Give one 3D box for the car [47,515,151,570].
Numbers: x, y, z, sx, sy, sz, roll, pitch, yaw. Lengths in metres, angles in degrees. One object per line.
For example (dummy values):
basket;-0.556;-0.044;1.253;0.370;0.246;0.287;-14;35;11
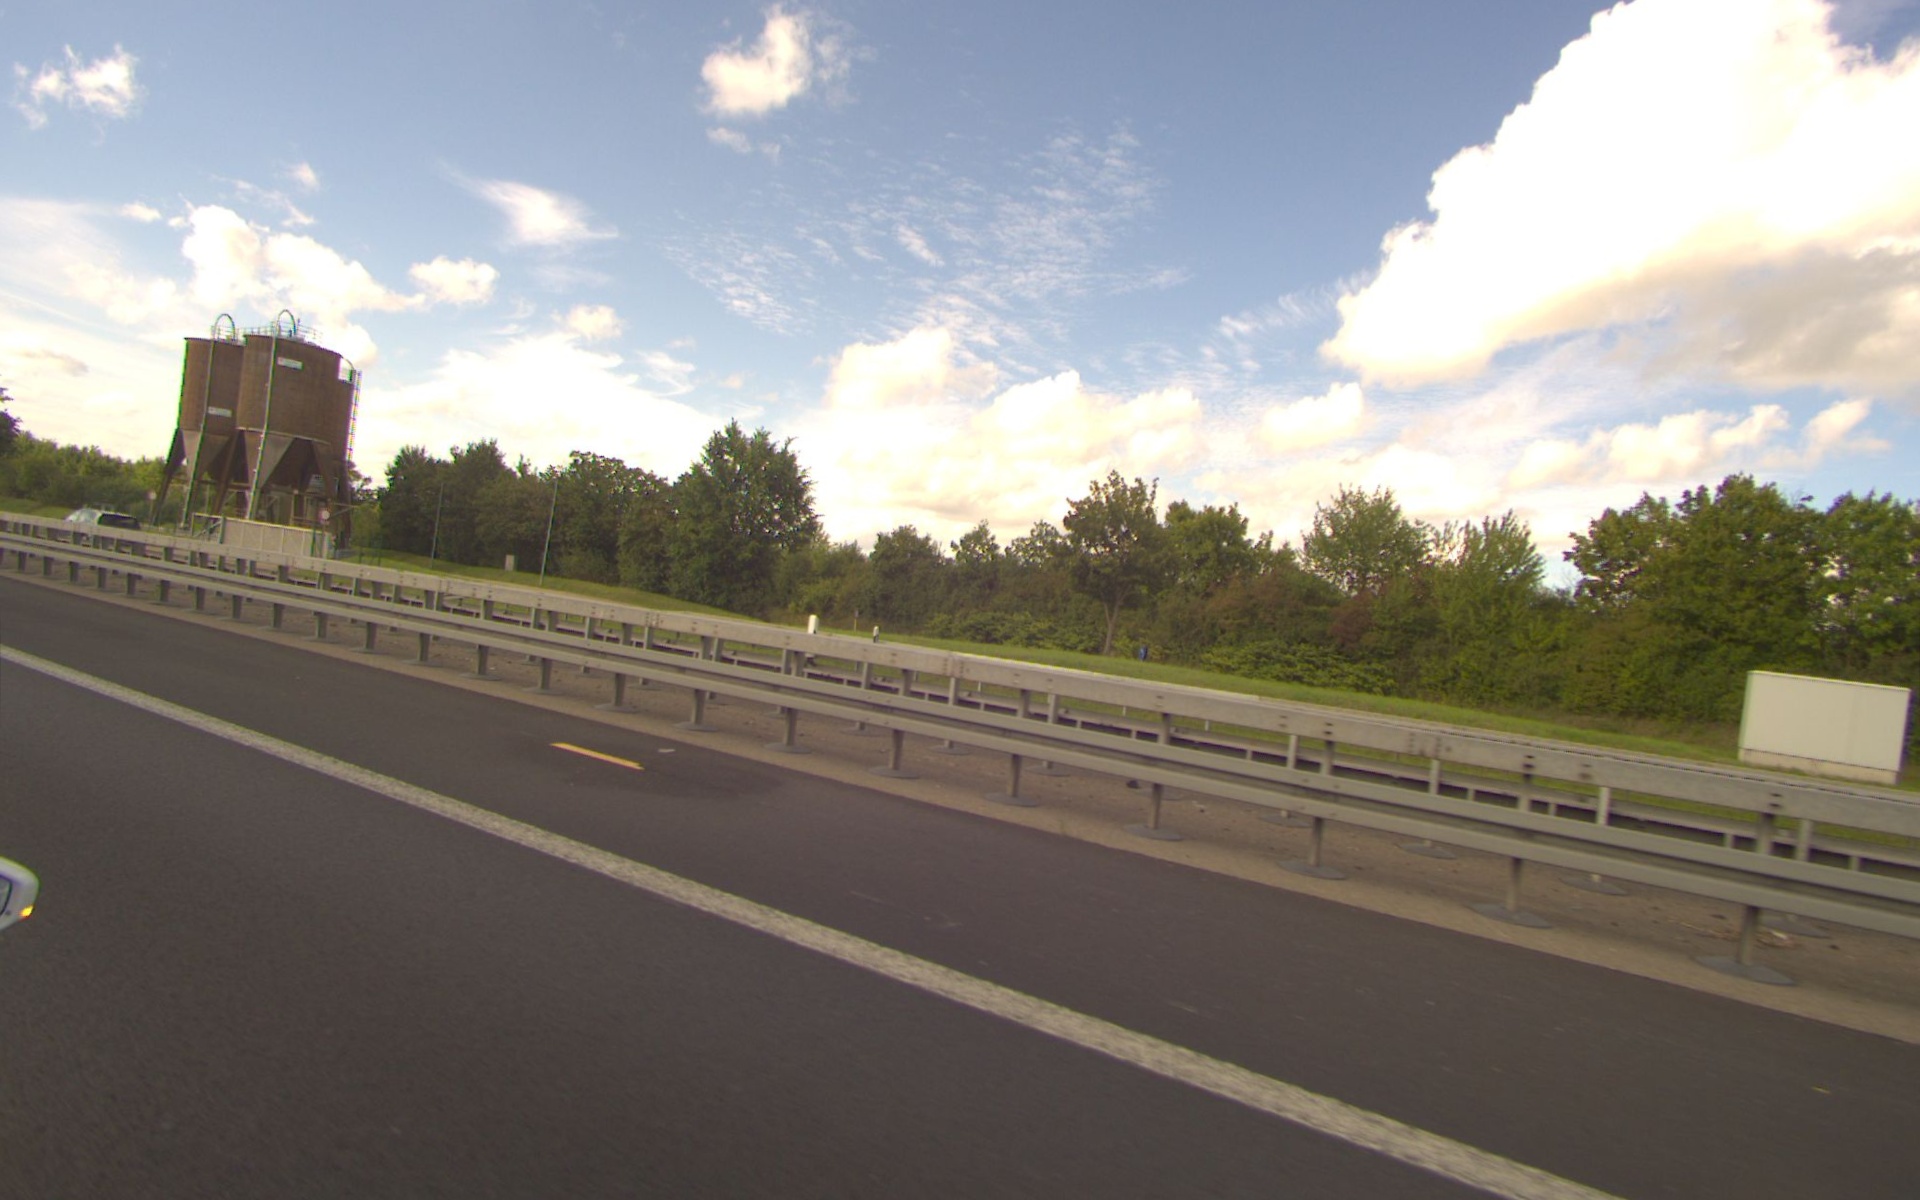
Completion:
car;-34.729;-2.320;40.571;3.933;1.739;1.995;7;1;31
